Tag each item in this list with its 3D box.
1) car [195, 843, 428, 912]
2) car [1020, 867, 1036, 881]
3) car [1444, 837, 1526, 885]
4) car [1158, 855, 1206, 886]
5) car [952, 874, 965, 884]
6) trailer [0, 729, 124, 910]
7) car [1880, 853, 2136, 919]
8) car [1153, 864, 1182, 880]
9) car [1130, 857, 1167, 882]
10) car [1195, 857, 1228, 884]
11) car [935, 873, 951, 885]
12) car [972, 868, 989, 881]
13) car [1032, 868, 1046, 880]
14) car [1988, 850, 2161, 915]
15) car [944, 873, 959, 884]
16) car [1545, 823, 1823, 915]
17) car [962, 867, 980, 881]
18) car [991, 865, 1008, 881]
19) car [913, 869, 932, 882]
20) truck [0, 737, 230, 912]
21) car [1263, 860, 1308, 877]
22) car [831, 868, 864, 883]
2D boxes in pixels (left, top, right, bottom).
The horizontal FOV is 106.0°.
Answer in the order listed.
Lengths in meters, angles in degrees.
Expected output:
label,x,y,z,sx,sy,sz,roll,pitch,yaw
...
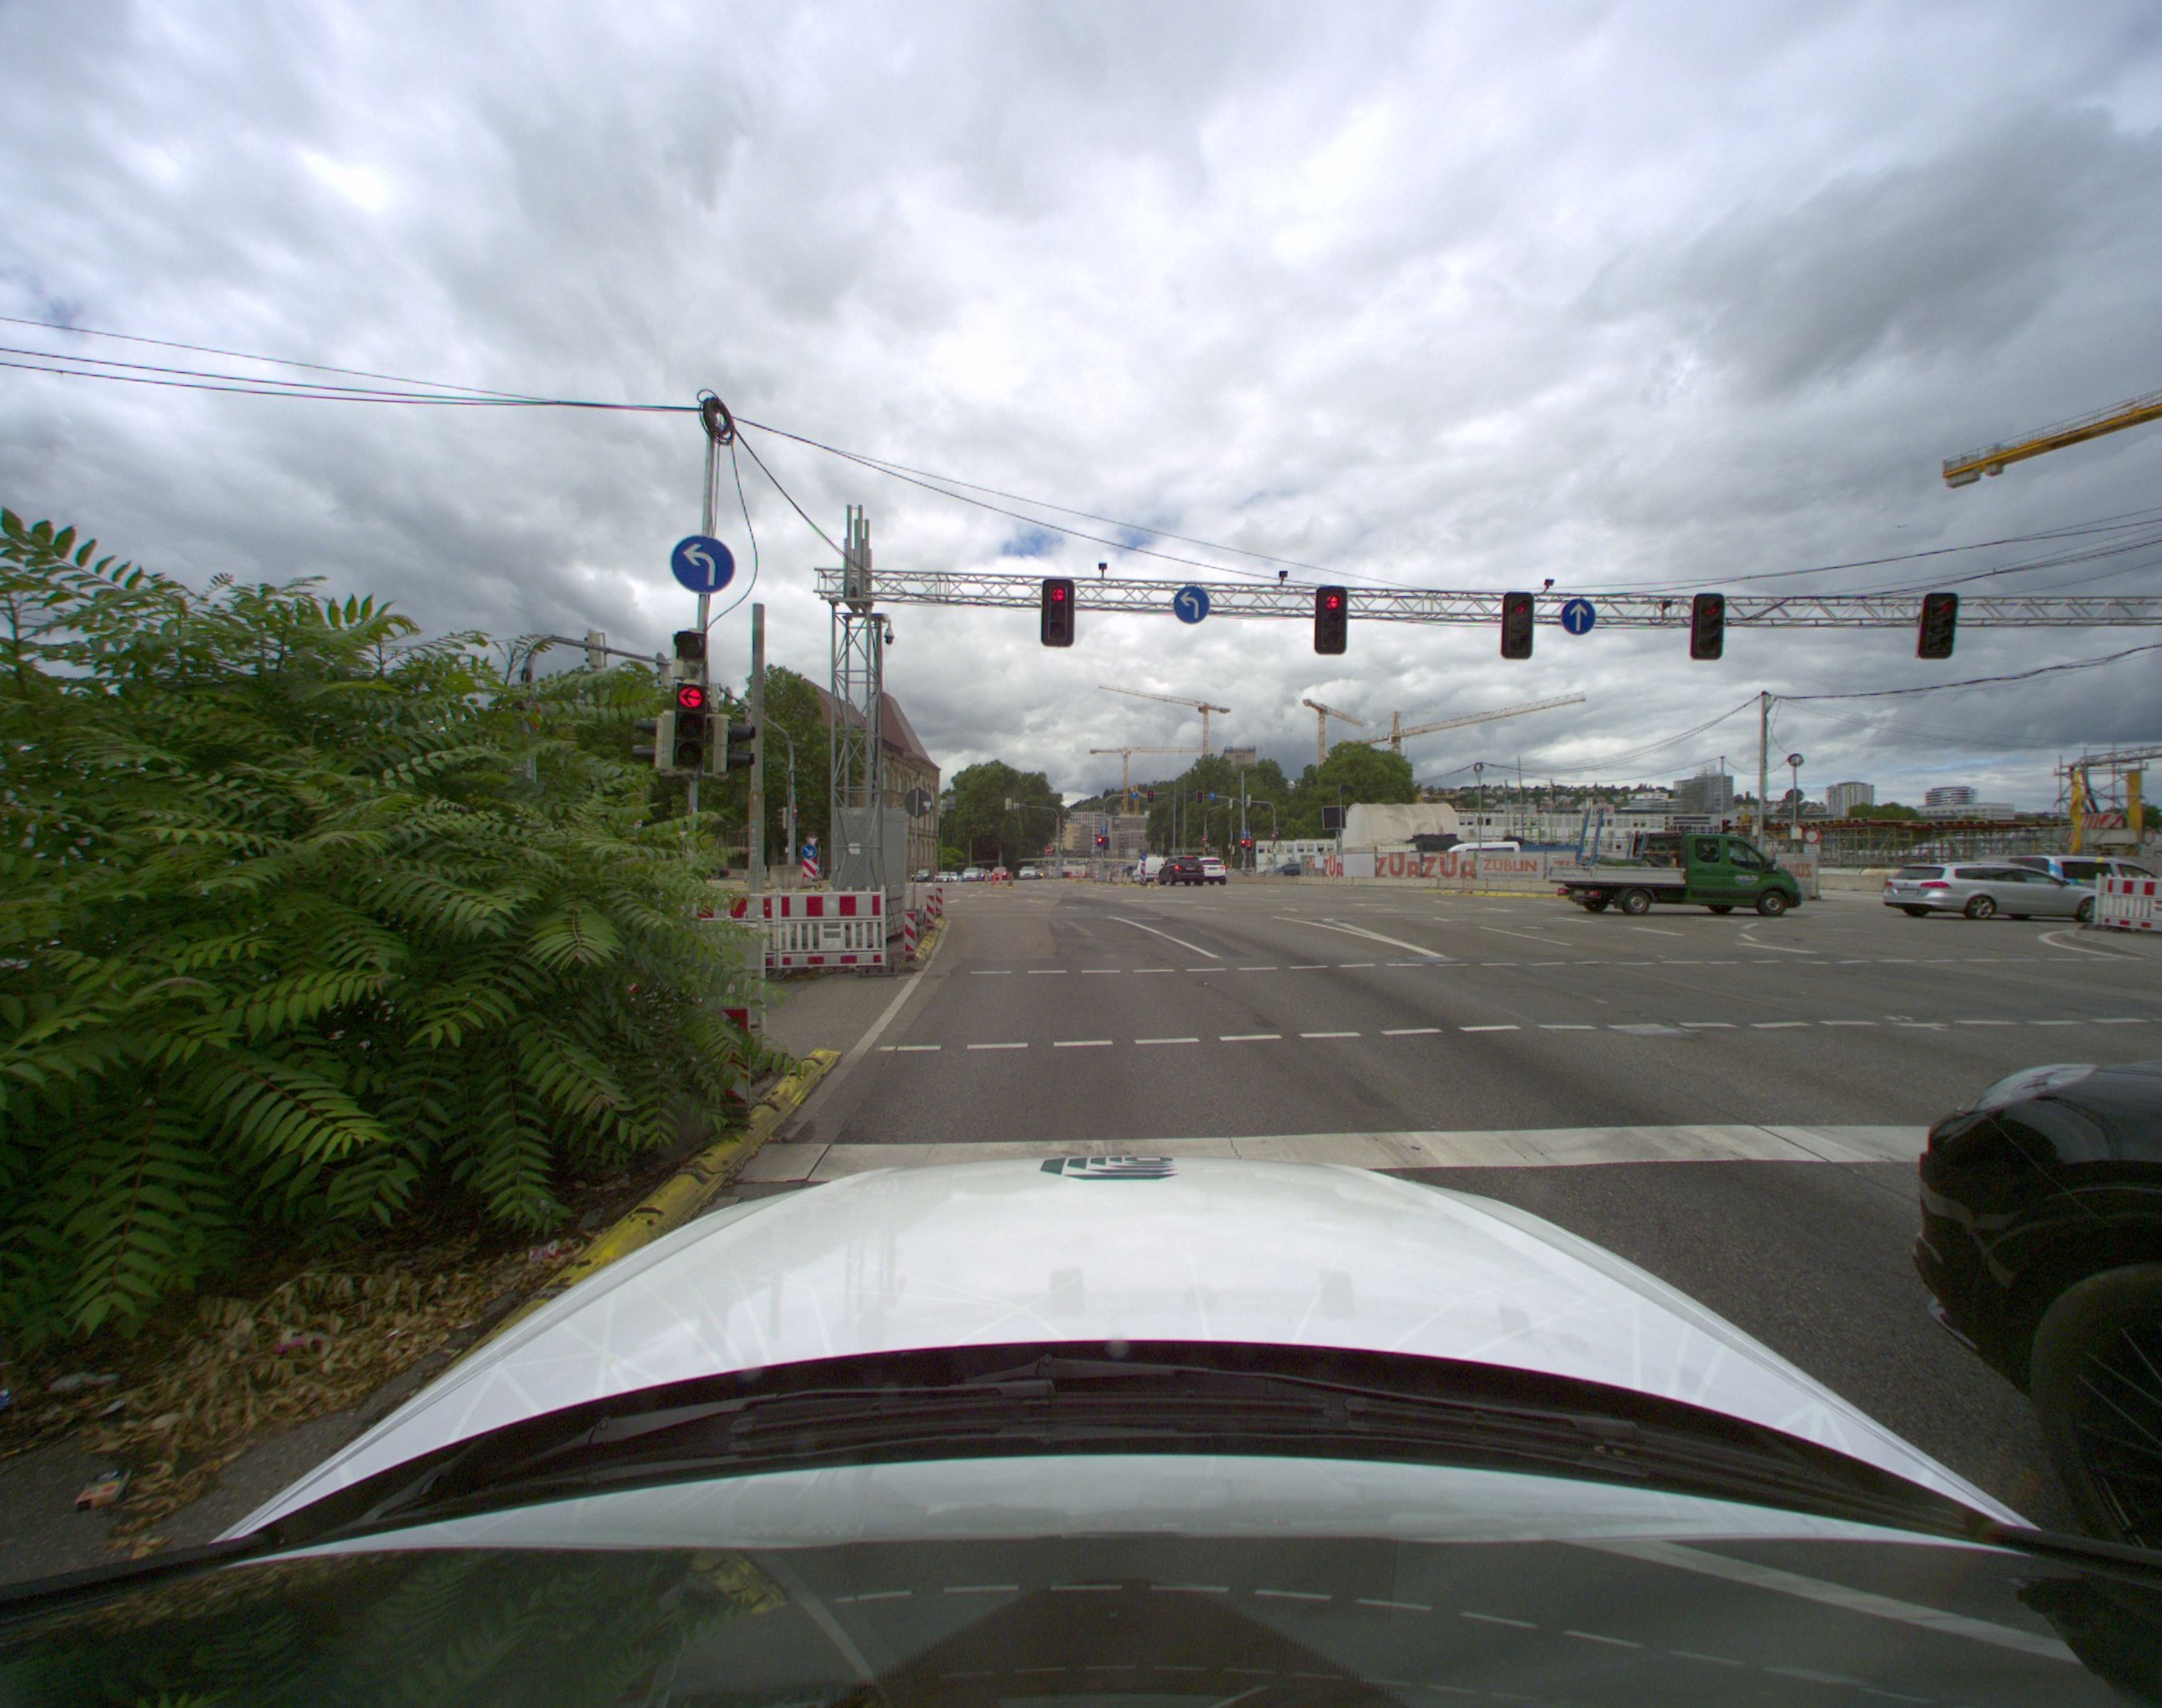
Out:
label,x,y,z,sx,sy,sz,roll,pitch,yaw
car,-19.160,0.569,20.418,4.041,1.625,1.829,0,-1,-1
car,-5.585,2.070,85.339,1.673,1.398,3.677,0,-1,-4
car,23.228,0.420,46.970,3.957,2.662,1.688,-1,-1,15
car,5.957,0.940,48.491,1.830,1.746,4.244,0,-1,-8
car,-17.499,3.560,116.401,1.673,1.398,3.677,0,-1,-4
trailer,-32.426,-0.771,20.003,13.708,4.281,2.945,0,-1,-3
car,24.175,0.817,21.372,4.691,1.625,1.682,0,-1,2
car,8.020,1.680,75.957,1.680,1.398,3.069,0,-1,-16
car,4.565,1.018,55.576,1.814,1.625,3.992,0,-1,-5
car,8.477,1.055,52.998,1.670,1.702,3.375,0,-1,2
car,-17.212,3.135,101.831,1.673,1.398,3.677,0,-1,-4
car,-11.365,2.270,92.233,1.673,1.398,3.677,0,-1,-4
car,-5.019,2.374,96.989,1.673,1.398,3.677,0,-1,-4
car,30.631,0.828,24.640,4.250,1.882,1.831,0,-1,2
car,-17.308,3.276,109.151,1.673,1.398,3.677,0,-1,-4
car,16.039,0.384,21.938,5.737,2.305,2.304,0,-1,1
car,-11.619,2.121,86.075,1.673,1.398,3.677,0,-1,-4
car,-8.479,1.998,85.091,1.673,1.580,3.677,0,-1,-4
car,-17.700,2.358,90.965,1.673,1.398,3.677,0,-1,-4
truck,-25.318,-0.669,20.327,4.864,4.064,2.942,0,-1,-3
car,19.986,1.433,79.639,3.996,1.625,1.812,0,-1,-17
car,-22.724,2.096,79.294,1.666,1.398,3.691,0,-1,8
